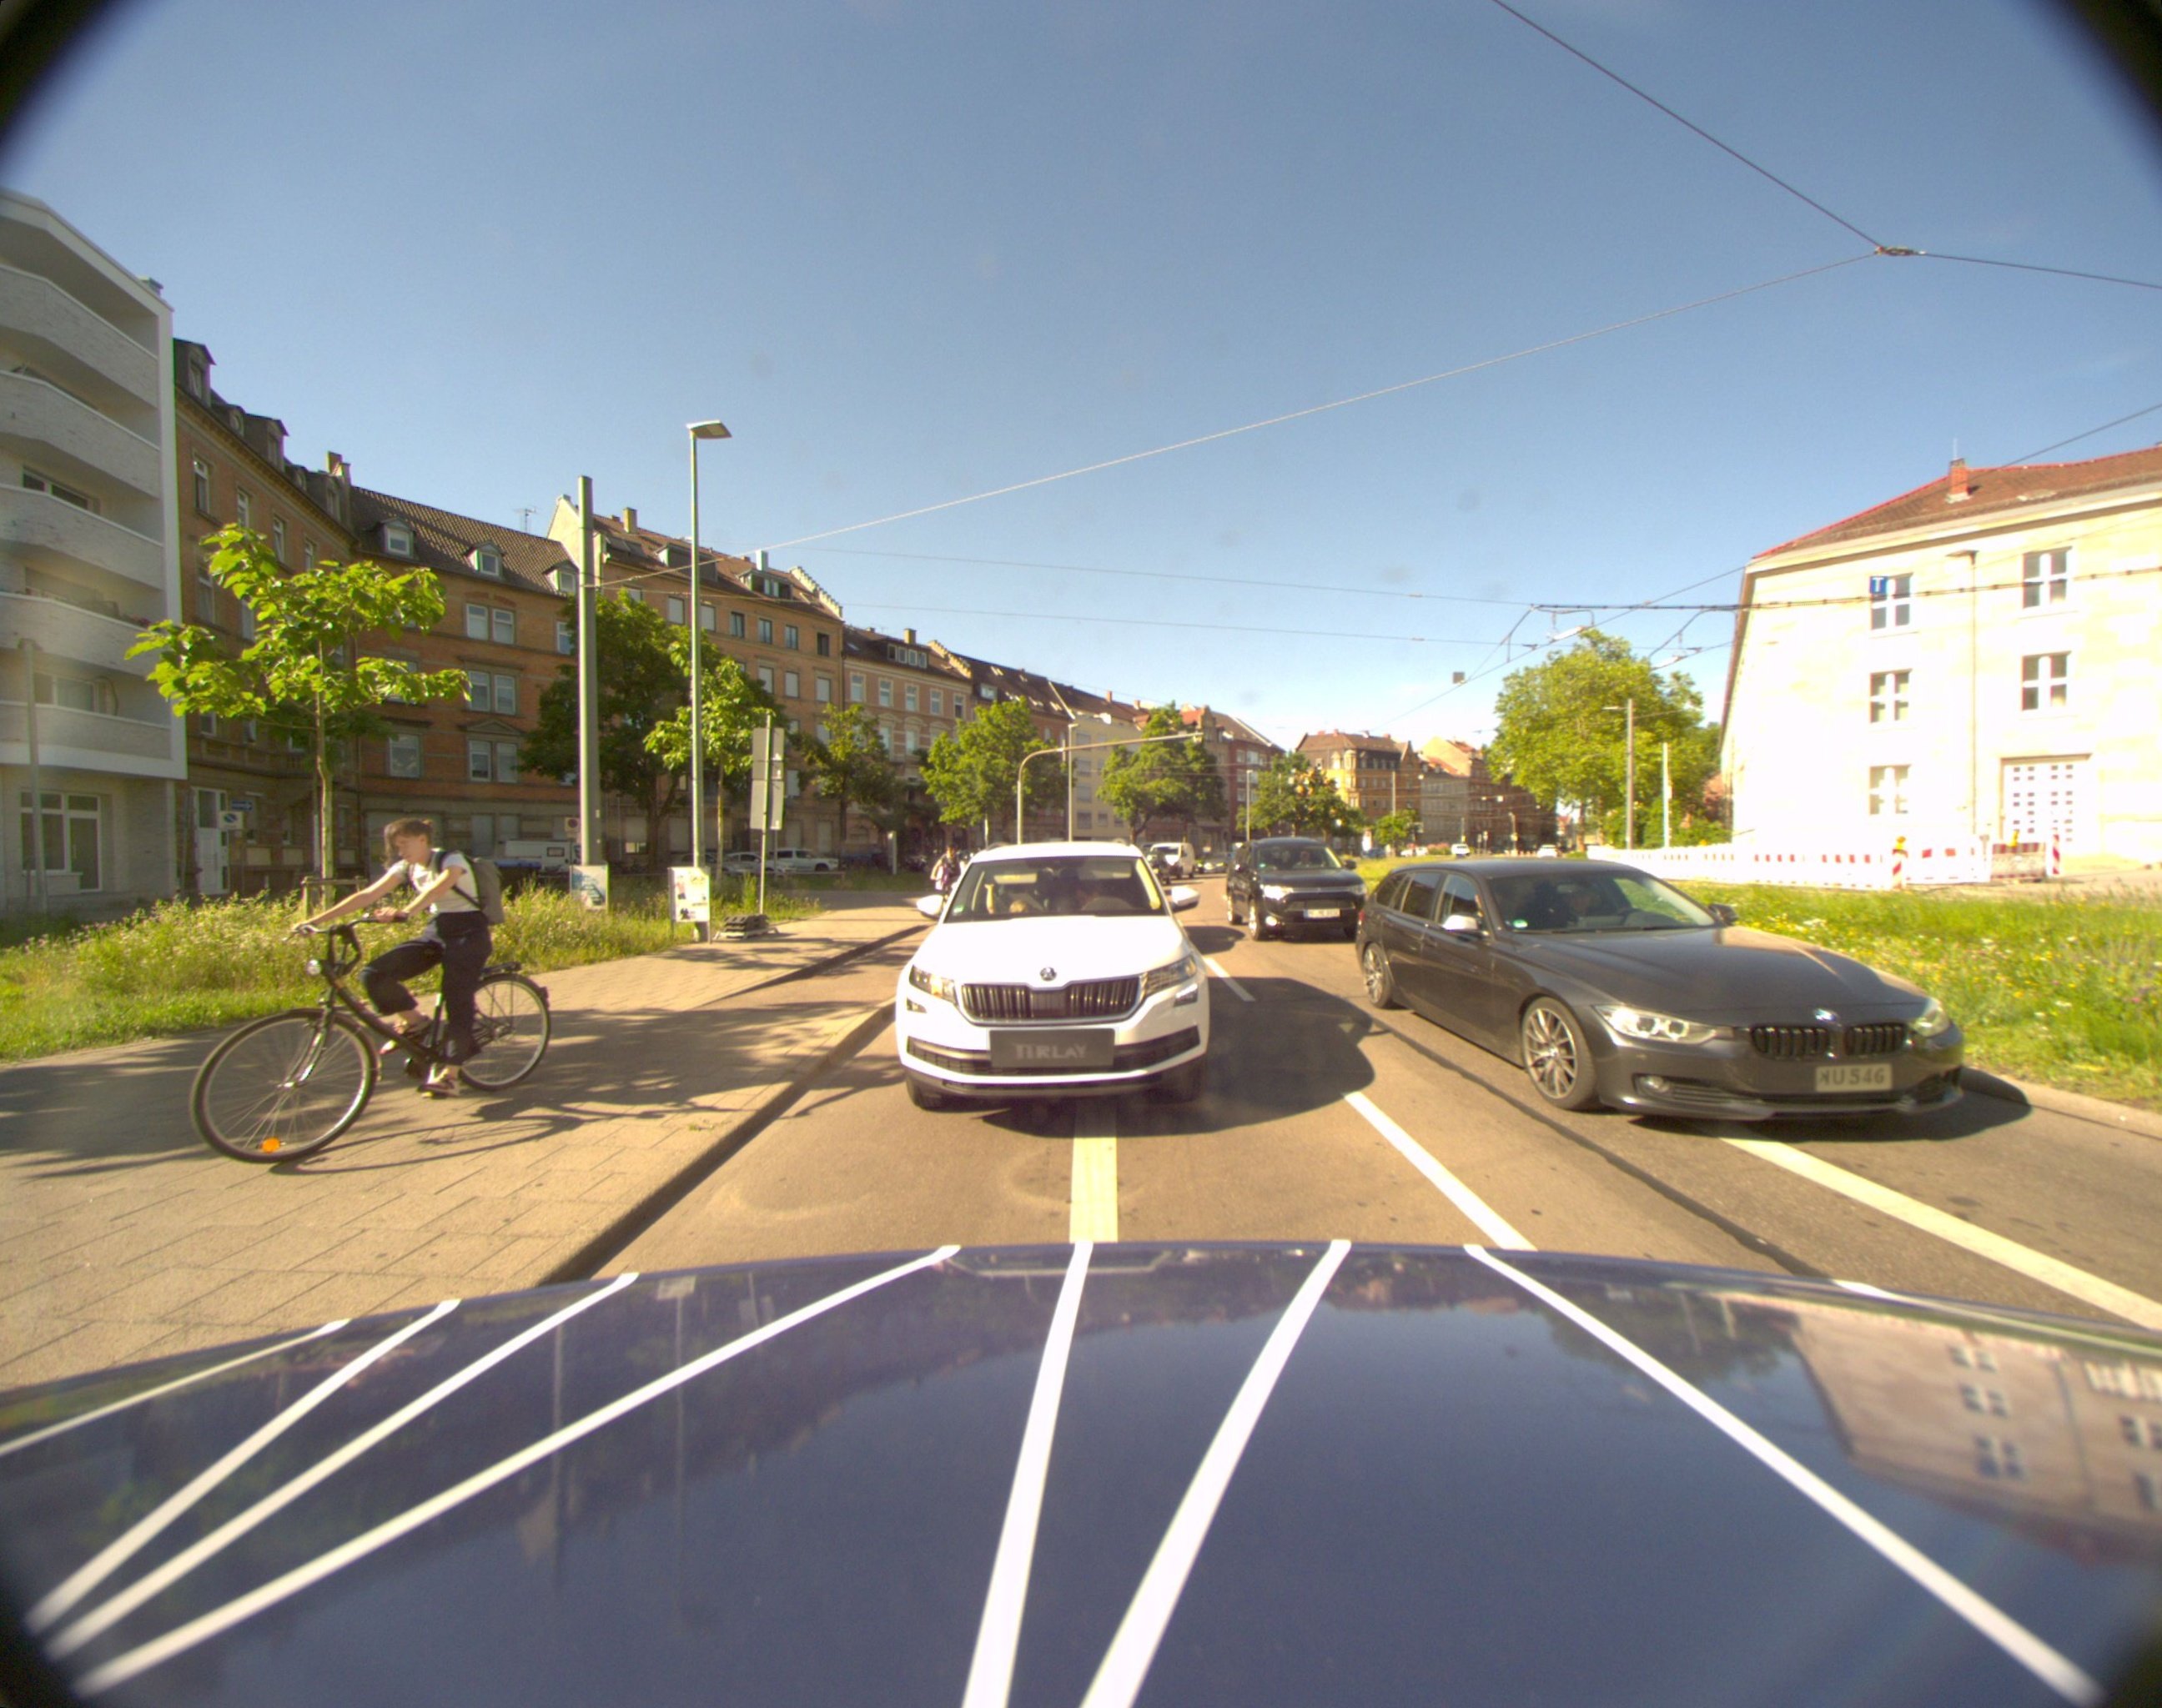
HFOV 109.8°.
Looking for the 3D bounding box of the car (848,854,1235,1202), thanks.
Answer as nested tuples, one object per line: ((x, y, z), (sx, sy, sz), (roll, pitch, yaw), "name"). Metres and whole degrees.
((-0.229, 0.854, 5.940), (1.842, 1.636, 4.397), (-2, 0, -1), "car")

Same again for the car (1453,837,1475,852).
((53.379, -1.327, 105.957), (1.996, 1.864, 4.596), (-2, 1, 19), "car")

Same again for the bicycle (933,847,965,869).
((-7.730, 0.241, 44.509), (0.664, 1.260, 2.198), (-3, 1, -45), "bicycle")

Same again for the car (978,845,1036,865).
((-5.228, 0.088, 53.956), (3.822, 1.398, 1.683), (0, 1, 9), "car")

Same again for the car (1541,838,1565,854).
((50.050, -0.886, 80.522), (1.820, 1.636, 4.190), (-1, 0, 37), "car")

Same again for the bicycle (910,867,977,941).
((-2.771, 0.983, 15.534), (0.736, 1.353, 2.076), (-1, 1, 7), "bicycle")

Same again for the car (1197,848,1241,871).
((9.437, 0.323, 51.761), (1.836, 1.464, 4.720), (0, 1, 24), "car")

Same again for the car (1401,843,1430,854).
((52.392, -0.835, 118.991), (3.989, 1.641, 1.866), (-2, 1, 31), "car")

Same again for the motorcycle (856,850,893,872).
((-12.603, 0.402, 46.395), (2.199, 1.260, 0.664), (-2, 1, 24), "motorcycle")

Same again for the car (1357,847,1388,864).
((30.839, 0.123, 80.313), (1.835, 1.637, 4.157), (1, 2, 40), "car")

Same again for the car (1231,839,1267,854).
((18.694, -0.818, 84.649), (3.823, 1.581, 1.600), (0, 1, 6), "car")

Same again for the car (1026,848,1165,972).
((0.234, 0.762, 12.599), (1.842, 1.636, 4.397), (-2, 0, 1), "car")

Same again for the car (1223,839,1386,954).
((3.696, 0.626, 13.389), (1.841, 1.636, 4.399), (-2, 0, 5), "car")

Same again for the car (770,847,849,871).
((-14.681, 0.256, 41.185), (3.700, 1.244, 1.540), (0, 1, 2), "car")

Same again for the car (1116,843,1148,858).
((5.468, -0.420, 80.718), (1.547, 1.578, 3.607), (1, 2, 41), "car")

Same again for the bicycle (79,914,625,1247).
((-3.739, 1.026, 4.265), (0.668, 1.190, 2.156), (-1, 1, 14), "bicycle")

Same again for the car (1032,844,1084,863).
((-1.776, -0.053, 58.703), (3.823, 1.398, 1.600), (0, 1, 6), "car")

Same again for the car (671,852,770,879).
((-17.501, 0.534, 36.897), (4.156, 1.244, 1.683), (0, 1, 13), "car")

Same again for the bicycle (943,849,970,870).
((-7.686, 0.341, 46.751), (0.664, 1.260, 2.199), (-3, 1, -36), "bicycle")

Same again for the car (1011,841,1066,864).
((-3.108, -0.136, 56.095), (3.825, 1.698, 1.682), (0, 1, 3), "car")

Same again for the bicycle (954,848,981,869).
((-7.123, 0.309, 47.744), (0.664, 1.260, 2.199), (-3, 1, -36), "bicycle")

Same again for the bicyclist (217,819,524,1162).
((-3.783, 0.645, 4.133), (0.668, 1.619, 0.972), (-1, 1, 14), "bicyclist")

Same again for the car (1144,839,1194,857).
((8.197, -0.587, 70.600), (4.578, 1.658, 1.600), (0, 1, 7), "car")

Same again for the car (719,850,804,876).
((-16.408, 0.440, 39.097), (3.696, 1.244, 1.683), (0, 1, 13), "car")

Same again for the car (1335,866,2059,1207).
((3.477, 0.849, 5.585), (1.741, 1.359, 4.426), (-2, 0, 1), "car")

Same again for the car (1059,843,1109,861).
((0.260, -0.159, 61.155), (3.823, 1.398, 1.600), (0, 1, 6), "car")

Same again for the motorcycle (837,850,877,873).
((-13.290, 0.439, 45.010), (2.314, 1.270, 0.664), (-2, 1, 24), "motorcycle")

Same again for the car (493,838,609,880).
((-27.118, 0.217, 39.001), (2.047, 2.026, 4.510), (1, 2, 41), "car")

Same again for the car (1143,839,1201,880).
((5.074, 0.250, 41.626), (1.979, 2.074, 4.720), (0, 1, 22), "car")

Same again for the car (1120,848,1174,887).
((3.106, 0.558, 34.791), (1.837, 1.637, 4.152), (0, 1, 14), "car")

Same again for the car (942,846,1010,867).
((-7.044, 0.176, 51.286), (4.322, 1.398, 1.682), (0, 1, 3), "car")

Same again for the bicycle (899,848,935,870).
((-9.743, 0.307, 45.061), (2.198, 1.260, 0.664), (-2, 1, 30), "bicycle")

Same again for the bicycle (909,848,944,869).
((-9.511, 0.280, 46.703), (2.198, 1.260, 0.664), (-2, 1, 32), "bicycle")

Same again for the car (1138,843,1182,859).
((7.126, -0.247, 68.170), (3.823, 1.372, 1.600), (0, 1, 9), "car")

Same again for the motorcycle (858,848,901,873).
((-11.179, 0.375, 42.198), (2.200, 1.322, 0.663), (-2, 1, 13), "motorcycle")

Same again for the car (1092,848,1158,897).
((1.642, 0.599, 26.948), (1.838, 1.543, 4.151), (0, 1, 10), "car")

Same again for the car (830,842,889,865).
((-15.611, -0.056, 53.662), (1.547, 1.578, 3.709), (1, 2, 41), "car")

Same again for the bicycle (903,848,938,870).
((-9.707, 0.295, 46.000), (2.198, 1.260, 0.664), (-2, 1, 32), "bicycle")

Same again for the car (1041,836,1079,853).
((-1.940, -0.941, 71.656), (1.547, 1.578, 3.607), (1, 2, 41), "car")

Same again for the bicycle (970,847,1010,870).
((-5.476, 0.268, 45.730), (2.207, 1.260, 0.662), (-3, 1, -25), "bicycle")

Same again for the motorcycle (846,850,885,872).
((-12.941, 0.416, 45.616), (2.314, 1.276, 0.664), (-2, 1, 24), "motorcycle")

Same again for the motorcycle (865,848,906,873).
((-11.149, 0.358, 43.284), (2.200, 1.315, 0.664), (-2, 1, 18), "motorcycle")

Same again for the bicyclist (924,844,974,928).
((-2.722, 0.649, 15.739), (0.735, 1.685, 0.972), (-1, 1, 7), "bicyclist")
